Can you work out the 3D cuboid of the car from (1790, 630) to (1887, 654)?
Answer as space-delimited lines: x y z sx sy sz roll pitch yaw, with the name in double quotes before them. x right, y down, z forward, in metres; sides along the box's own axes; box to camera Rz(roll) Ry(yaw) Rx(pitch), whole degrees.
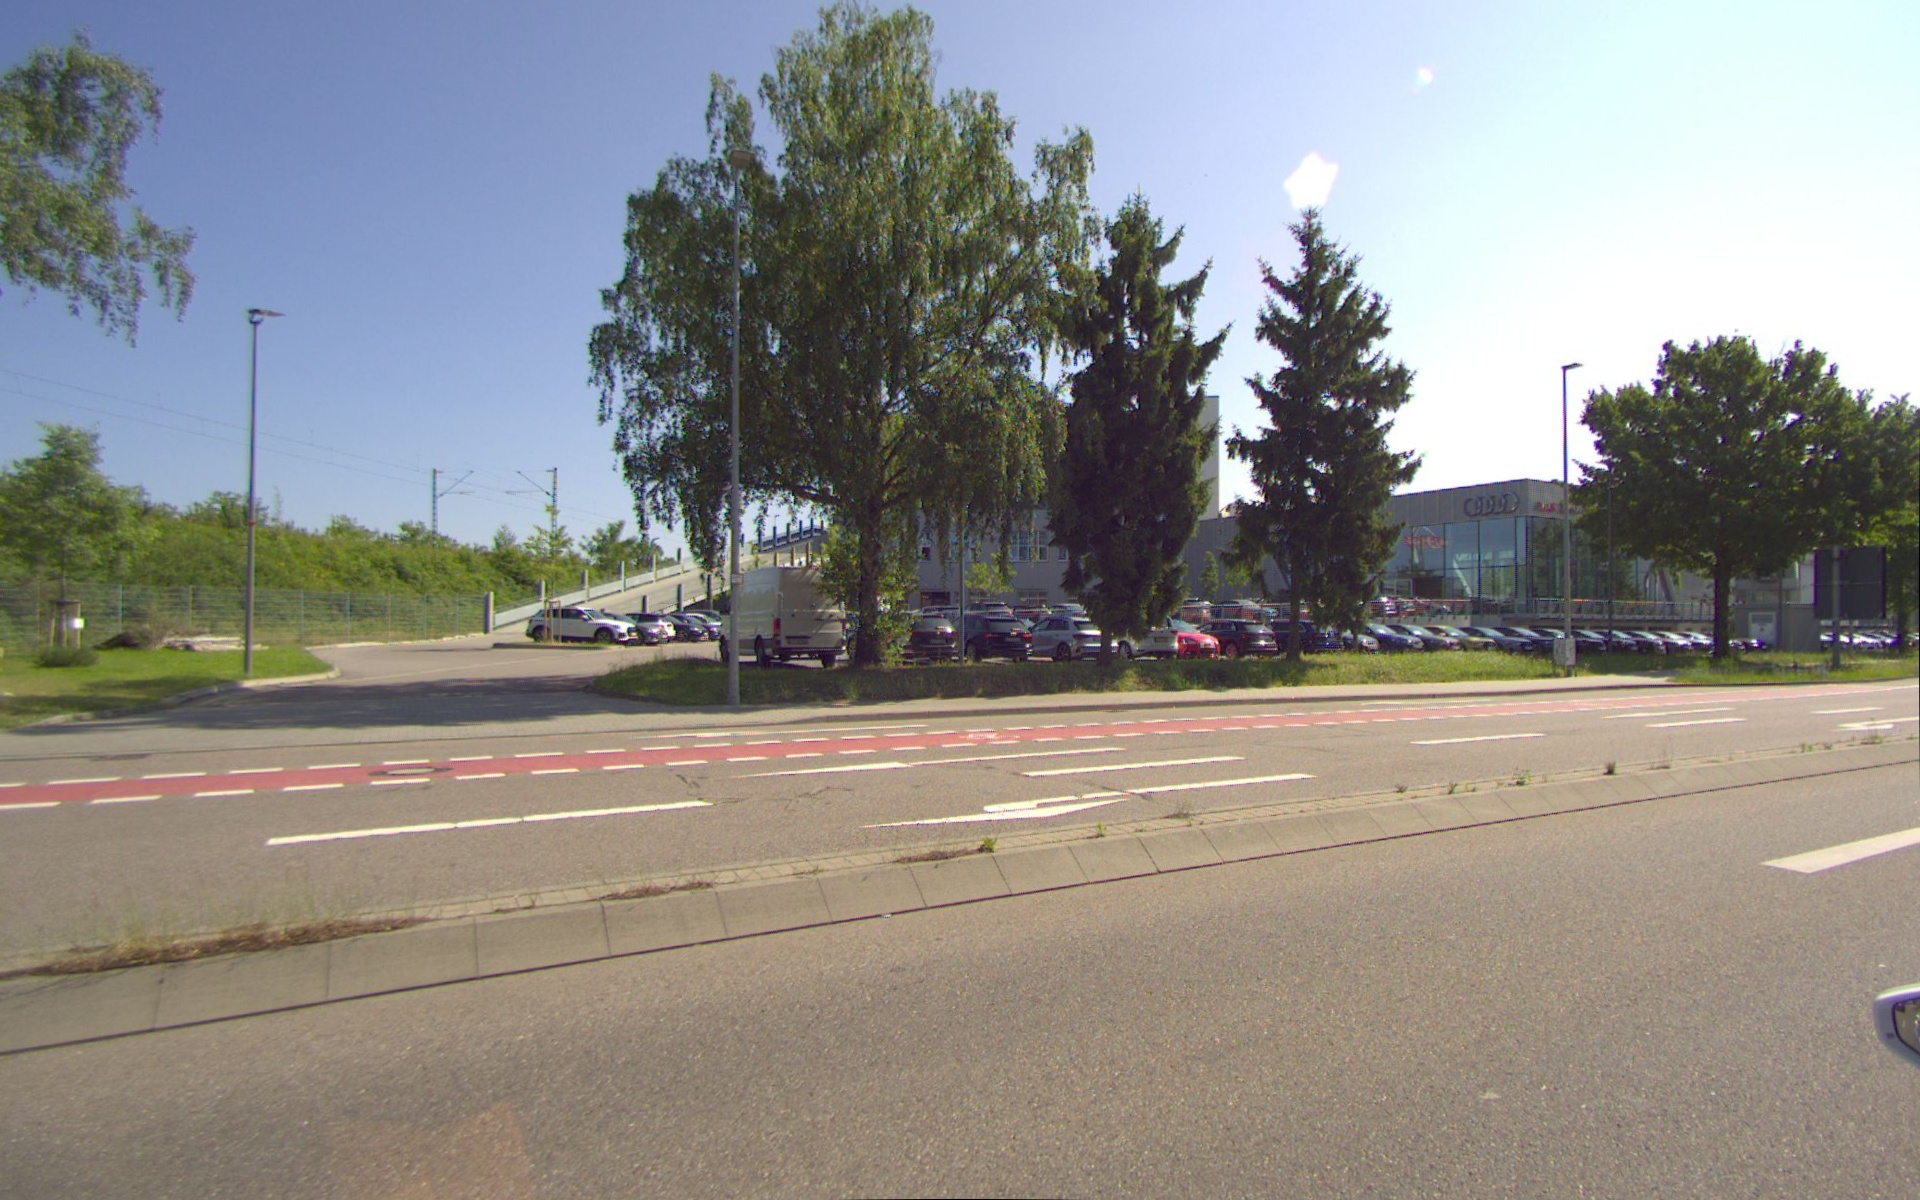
"car" 53.498 2.563 61.206 2.000 1.394 4.025 1 -2 -28

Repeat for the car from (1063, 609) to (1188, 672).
"car" 5.286 1.274 32.611 1.928 1.909 4.252 1 -2 -26

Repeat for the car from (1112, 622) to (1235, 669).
"car" 7.207 1.509 34.389 1.928 1.523 4.252 1 -2 -26

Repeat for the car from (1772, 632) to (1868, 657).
"car" 51.209 2.611 59.853 1.842 1.394 3.971 1 -2 -28

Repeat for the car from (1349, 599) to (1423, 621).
"car" 27.662 0.682 65.355 1.929 1.368 4.250 1 -2 -28

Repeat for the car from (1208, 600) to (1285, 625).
"car" 16.646 0.751 58.506 1.929 1.368 4.250 1 -2 -28

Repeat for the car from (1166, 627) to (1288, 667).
"car" 9.514 1.649 36.098 1.928 1.346 4.252 1 -2 -26

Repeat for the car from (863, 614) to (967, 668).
"car" -1.385 1.150 29.160 1.719 1.457 4.078 1 -1 -23

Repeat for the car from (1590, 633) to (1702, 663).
"car" 34.340 2.380 50.407 1.928 1.368 4.252 1 -2 -26

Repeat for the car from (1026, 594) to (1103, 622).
"car" 5.338 0.426 51.727 1.929 1.368 4.250 1 -2 -28

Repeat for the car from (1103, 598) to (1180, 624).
"car" 9.851 0.620 54.757 1.929 1.368 4.250 1 -2 -28

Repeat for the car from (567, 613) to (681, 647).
"car" -15.208 1.356 45.627 4.458 1.461 2.001 0 -2 4

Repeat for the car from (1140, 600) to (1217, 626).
"car" 12.036 0.726 55.697 1.929 1.368 4.250 1 -2 -28

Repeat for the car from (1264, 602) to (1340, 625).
"car" 20.947 0.874 61.693 1.929 1.368 4.250 1 -2 -28

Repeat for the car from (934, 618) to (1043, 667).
"car" 0.764 1.246 30.093 1.719 1.372 4.078 2 -2 -23

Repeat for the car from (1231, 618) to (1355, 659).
"car" 12.208 1.392 37.112 1.928 1.399 4.252 1 -2 -26

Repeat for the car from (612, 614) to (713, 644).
"car" -15.054 1.454 50.923 4.458 1.461 2.001 0 -2 4

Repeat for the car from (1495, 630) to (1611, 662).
"car" 27.359 2.085 46.481 1.928 1.368 4.252 1 -2 -26

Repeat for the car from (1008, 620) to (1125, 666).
"car" 3.214 1.299 31.184 1.721 1.310 4.073 1 -2 -26

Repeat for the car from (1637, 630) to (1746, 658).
"car" 38.409 2.291 52.845 1.928 1.368 4.252 1 -2 -26

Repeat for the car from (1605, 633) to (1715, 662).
"car" 35.971 2.421 51.736 1.928 1.368 4.252 1 -2 -26

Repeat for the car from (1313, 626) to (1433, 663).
"car" 16.393 1.747 40.129 1.928 1.368 4.252 1 -2 -26

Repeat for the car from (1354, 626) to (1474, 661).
"car" 18.556 1.740 41.266 1.928 1.368 4.252 1 -2 -26

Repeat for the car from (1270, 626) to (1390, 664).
"car" 14.212 1.696 38.818 1.928 1.368 4.252 1 -2 -26

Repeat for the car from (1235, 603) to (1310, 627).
"car" 18.710 0.898 60.314 1.929 1.368 4.250 1 -2 -28

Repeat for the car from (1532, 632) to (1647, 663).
"car" 29.881 2.207 47.806 1.928 1.368 4.252 1 -2 -26

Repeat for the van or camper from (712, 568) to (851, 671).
"van or camper" -4.935 0.412 27.105 1.977 2.504 5.351 0 1 -31

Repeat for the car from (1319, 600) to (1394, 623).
"car" 25.281 0.755 64.126 1.929 1.368 4.250 1 -2 -28

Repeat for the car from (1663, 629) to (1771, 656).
"car" 40.511 2.250 53.839 1.928 1.368 4.252 1 -2 -26

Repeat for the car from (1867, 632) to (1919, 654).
"car" 62.501 2.814 65.987 1.900 1.394 3.971 1 -2 -28

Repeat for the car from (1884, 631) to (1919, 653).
"car" 64.619 2.804 67.001 1.900 1.394 3.971 1 -2 -28

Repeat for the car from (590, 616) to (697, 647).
"car" -15.187 1.516 48.366 4.458 1.461 2.001 0 -2 4

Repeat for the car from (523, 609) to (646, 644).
"car" -16.015 1.138 42.953 4.458 1.461 2.001 0 -2 4

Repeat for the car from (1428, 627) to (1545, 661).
"car" 22.953 1.897 43.979 1.928 1.368 4.252 1 -2 -26

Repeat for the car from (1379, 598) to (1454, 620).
"car" 30.180 0.611 66.556 1.929 1.368 4.250 1 -2 -28

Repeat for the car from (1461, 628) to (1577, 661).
"car" 25.126 1.977 45.315 1.928 1.368 4.252 1 -2 -26

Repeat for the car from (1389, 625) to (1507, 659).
"car" 20.728 1.776 42.863 1.928 1.368 4.252 1 -2 -26

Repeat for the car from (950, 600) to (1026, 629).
"car" 1.317 0.741 49.243 1.929 1.368 4.250 1 -2 -28

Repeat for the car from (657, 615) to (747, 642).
"car" -14.385 1.608 56.177 4.458 1.461 2.001 0 -2 4

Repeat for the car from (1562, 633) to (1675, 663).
"car" 32.085 2.314 49.085 1.928 1.368 4.252 1 -2 -26

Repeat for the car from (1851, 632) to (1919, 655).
"car" 60.431 2.782 64.831 1.900 1.394 3.971 1 -2 -28
